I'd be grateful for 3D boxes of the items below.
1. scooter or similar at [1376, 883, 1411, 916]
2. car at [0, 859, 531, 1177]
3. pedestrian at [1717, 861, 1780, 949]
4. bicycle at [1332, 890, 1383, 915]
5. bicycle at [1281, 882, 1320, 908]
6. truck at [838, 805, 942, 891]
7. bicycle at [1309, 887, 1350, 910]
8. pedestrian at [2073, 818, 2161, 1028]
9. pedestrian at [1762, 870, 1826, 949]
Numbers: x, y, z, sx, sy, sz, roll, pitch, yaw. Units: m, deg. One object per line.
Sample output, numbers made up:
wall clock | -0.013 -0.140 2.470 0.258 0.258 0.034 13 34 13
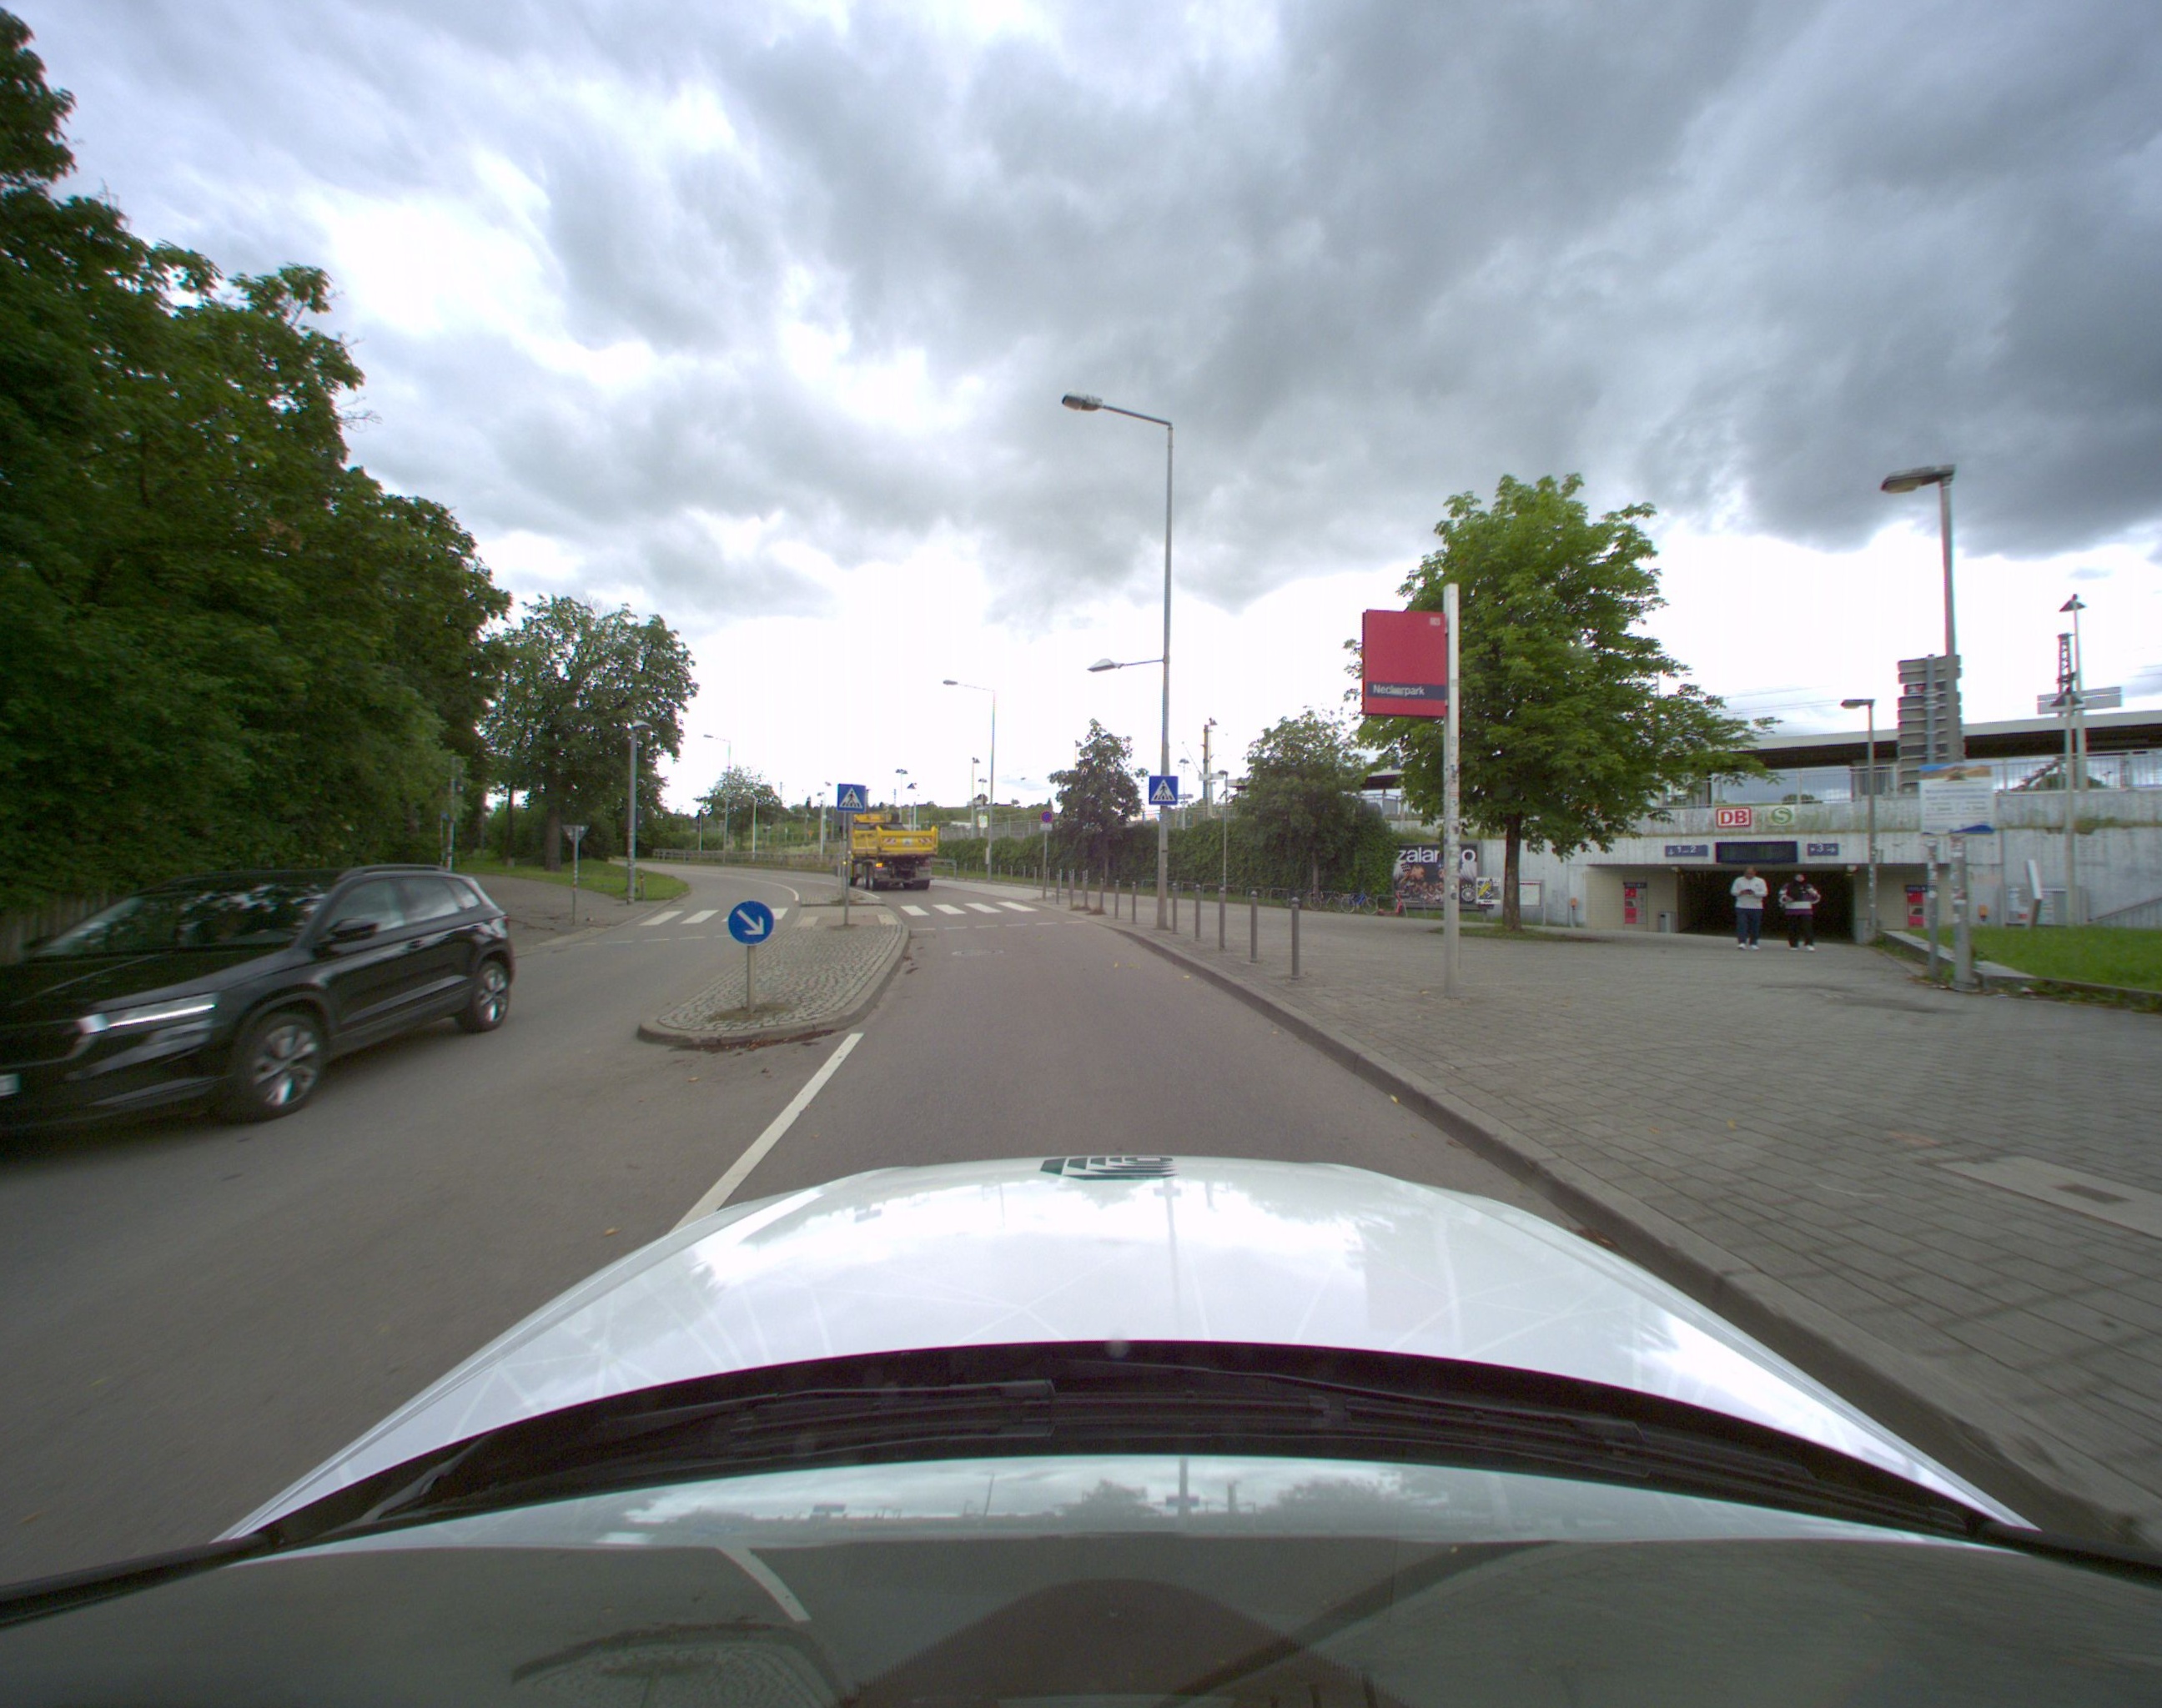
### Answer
scooter or similar | 12.323 1.795 32.113 1.187 1.206 0.467 3 -2 -9
car | -6.163 0.889 6.248 1.805 1.610 4.156 -3 0 -14
pedestrian | 13.414 1.015 16.384 0.806 1.703 0.753 -1 -3 27
bicycle | 11.319 1.972 33.304 1.967 0.865 0.509 4 -1 -12
bicycle | 9.379 1.738 34.823 1.480 0.989 0.695 3 -1 5
truck | -8.920 -0.312 37.254 2.780 3.483 8.058 1 1 -27
bicycle | 10.452 1.881 34.275 1.574 0.854 0.462 3 -1 -9
pedestrian | 9.196 0.558 6.751 0.840 1.684 0.945 -1 -3 24
pedestrian | 14.726 1.122 16.836 0.792 1.583 0.806 -1 -3 27
